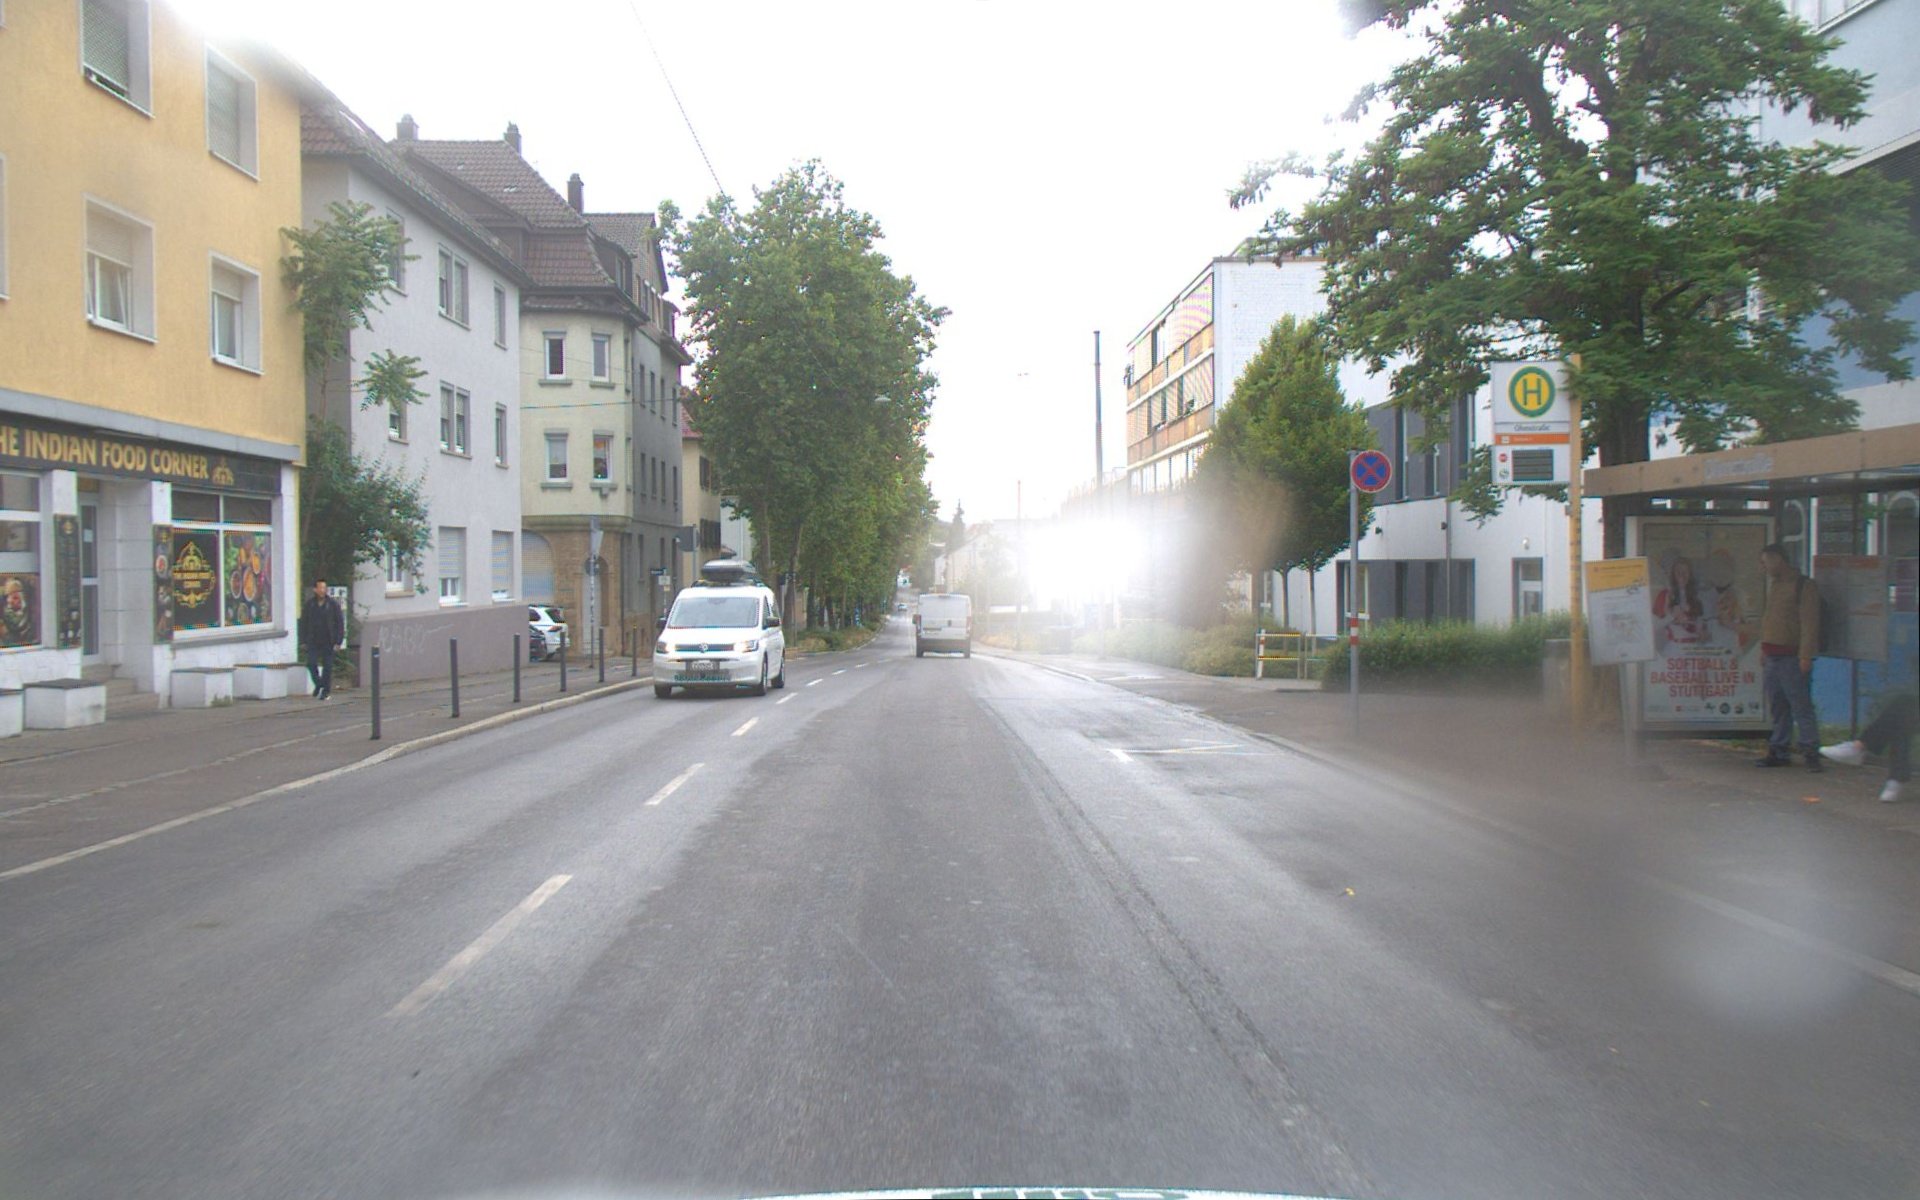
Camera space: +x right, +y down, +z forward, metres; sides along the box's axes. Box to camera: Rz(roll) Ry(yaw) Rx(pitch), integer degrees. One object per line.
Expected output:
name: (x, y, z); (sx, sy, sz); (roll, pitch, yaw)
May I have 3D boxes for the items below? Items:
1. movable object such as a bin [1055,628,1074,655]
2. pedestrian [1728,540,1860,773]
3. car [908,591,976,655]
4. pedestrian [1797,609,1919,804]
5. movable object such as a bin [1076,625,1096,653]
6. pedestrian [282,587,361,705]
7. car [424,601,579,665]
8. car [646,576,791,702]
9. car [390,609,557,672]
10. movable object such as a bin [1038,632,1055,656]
movable object such as a bin: (4.309, 1.709, 68.319); (0.681, 1.101, 0.778); (-3, -1, -1)
pedestrian: (6.909, 0.455, 13.731); (0.634, 1.863, 0.740); (-2, 0, -7)
car: (-0.721, 0.810, 61.496); (2.300, 2.198, 4.774); (-1, 1, -3)
pedestrian: (6.797, 0.722, 11.722); (1.329, 1.295, 0.740); (-2, 0, -7)
movable object such as a bin: (5.206, 1.611, 68.461); (0.681, 1.101, 0.778); (-3, -1, -1)
pedestrian: (-9.479, 0.679, 24.578); (0.799, 1.709, 0.992); (1, -1, -4)
car: (-13.954, 0.994, 50.539); (4.098, 1.733, 1.999); (3, -1, -2)
car: (-3.957, 0.624, 27.775); (1.844, 1.902, 4.452); (-1, -1, -1)
car: (-13.170, 1.087, 44.993); (3.907, 1.478, 1.999); (3, -1, -2)
movable object such as a bin: (3.545, 1.807, 68.137); (0.607, 0.953, 0.686); (-3, -1, -1)
